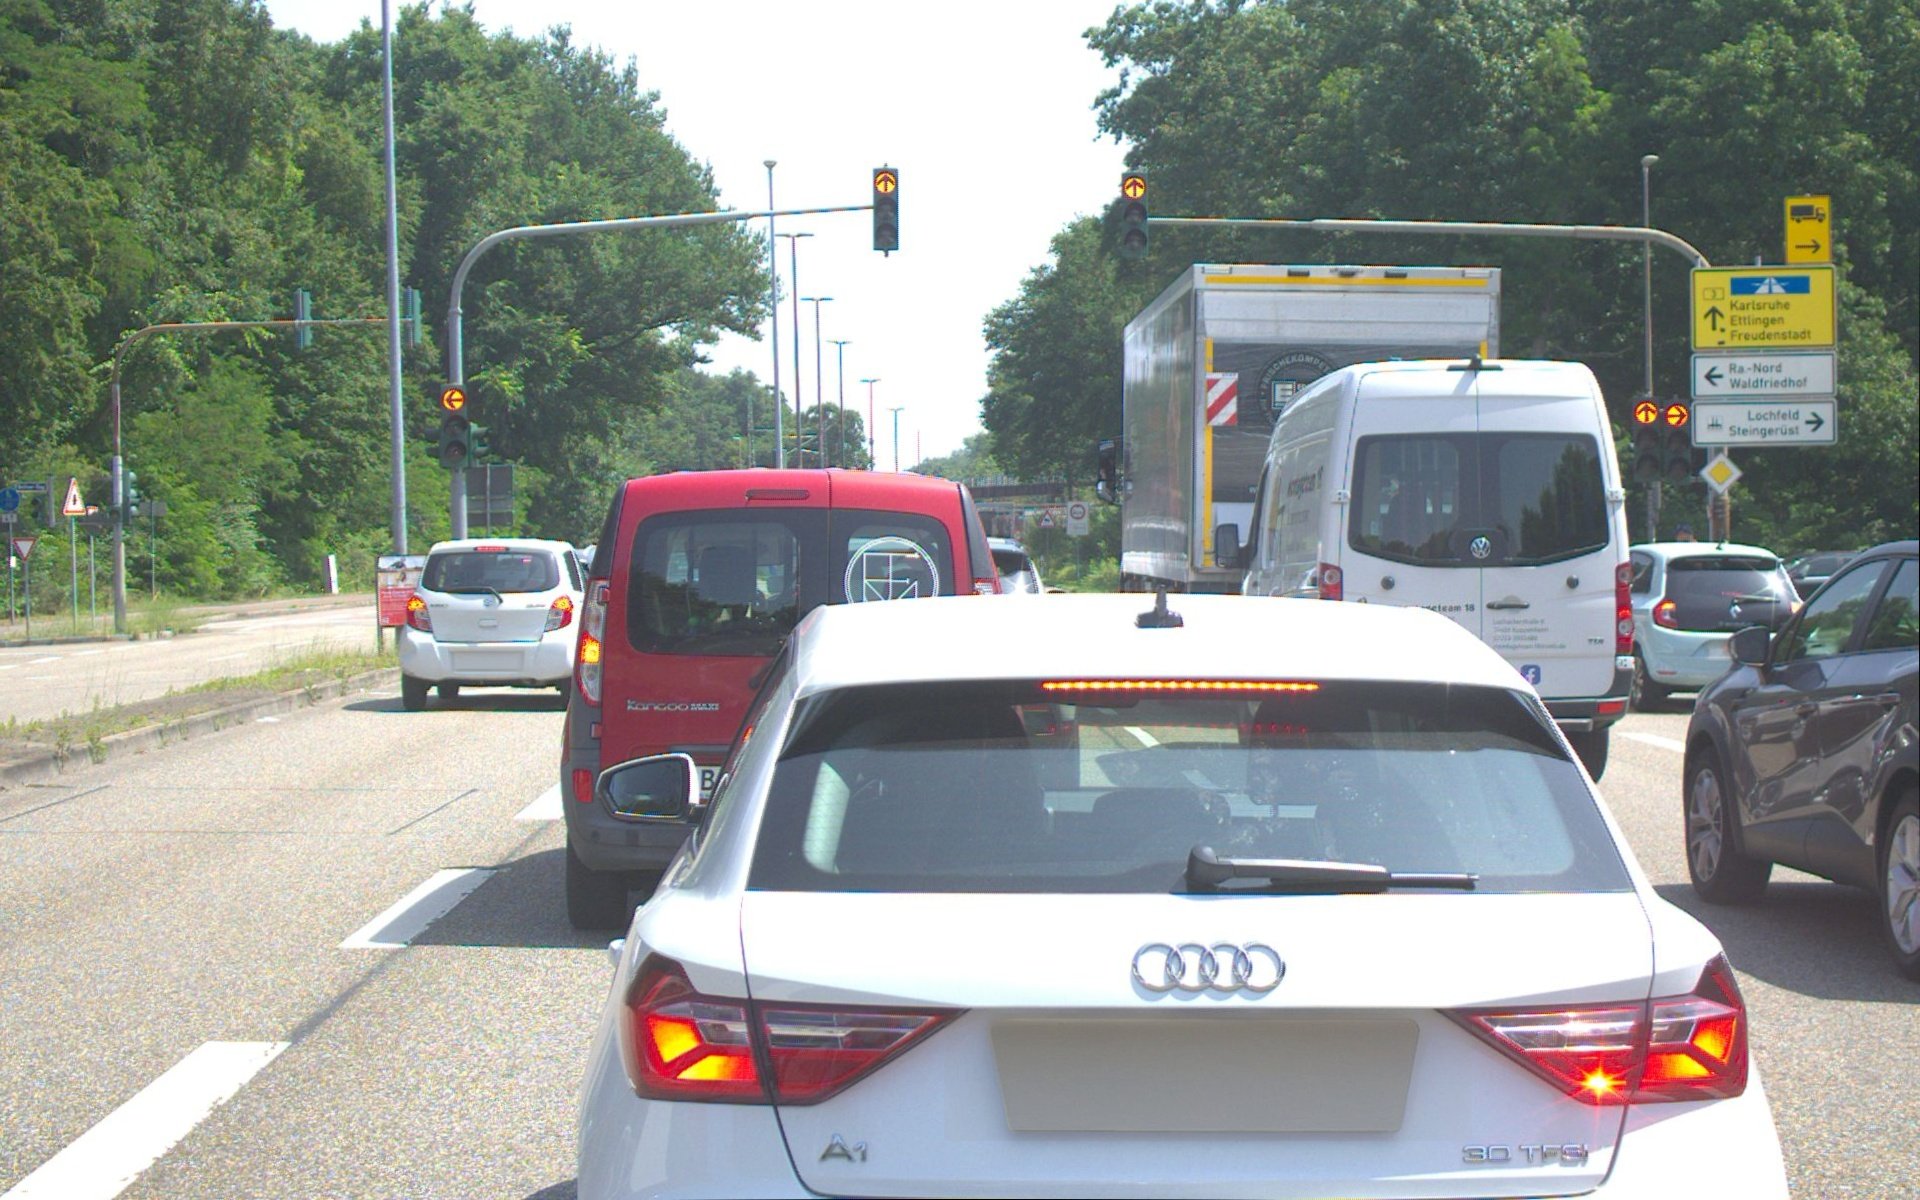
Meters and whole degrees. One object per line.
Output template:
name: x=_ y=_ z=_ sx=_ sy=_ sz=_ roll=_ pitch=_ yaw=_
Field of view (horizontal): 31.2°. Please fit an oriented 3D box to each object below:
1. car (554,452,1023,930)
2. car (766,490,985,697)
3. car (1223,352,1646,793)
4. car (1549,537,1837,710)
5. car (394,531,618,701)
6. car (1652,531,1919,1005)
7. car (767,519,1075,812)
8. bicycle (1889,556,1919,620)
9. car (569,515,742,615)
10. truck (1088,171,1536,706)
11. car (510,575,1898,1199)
car: x=-0.709 y=0.292 z=14.605 sx=1.711 sy=1.742 sz=4.092 roll=0 pitch=1 yaw=-2
car: x=-0.744 y=-0.090 z=28.965 sx=1.711 sy=1.626 sz=4.092 roll=0 pitch=1 yaw=-2
car: x=3.026 y=-0.210 z=22.996 sx=2.031 sy=2.635 sz=4.846 roll=0 pitch=1 yaw=-2
car: x=6.885 y=0.172 z=32.699 sx=1.711 sy=1.541 sz=4.092 roll=0 pitch=1 yaw=-2
car: x=-4.179 y=0.104 z=32.137 sx=1.711 sy=1.487 sz=4.092 roll=0 pitch=1 yaw=-2
car: x=3.998 y=0.530 z=13.176 sx=1.711 sy=1.587 sz=4.092 roll=0 pitch=1 yaw=-2
car: x=-0.301 y=0.324 z=21.135 sx=1.711 sy=1.626 sz=4.092 roll=0 pitch=1 yaw=-2
bicycle: x=12.057 y=-0.147 z=40.958 sx=1.826 sy=0.763 sz=0.599 roll=0 pitch=1 yaw=43
car: x=-6.430 y=-0.734 z=72.164 sx=1.994 sy=2.007 sz=4.000 roll=-2 pitch=1 yaw=-32
truck: x=3.139 y=-1.456 z=34.381 sx=3.088 sy=4.418 sz=11.581 roll=0 pitch=1 yaw=-1
car: x=0.221 y=0.670 z=6.278 sx=1.711 sy=1.381 sz=4.092 roll=0 pitch=1 yaw=-2
